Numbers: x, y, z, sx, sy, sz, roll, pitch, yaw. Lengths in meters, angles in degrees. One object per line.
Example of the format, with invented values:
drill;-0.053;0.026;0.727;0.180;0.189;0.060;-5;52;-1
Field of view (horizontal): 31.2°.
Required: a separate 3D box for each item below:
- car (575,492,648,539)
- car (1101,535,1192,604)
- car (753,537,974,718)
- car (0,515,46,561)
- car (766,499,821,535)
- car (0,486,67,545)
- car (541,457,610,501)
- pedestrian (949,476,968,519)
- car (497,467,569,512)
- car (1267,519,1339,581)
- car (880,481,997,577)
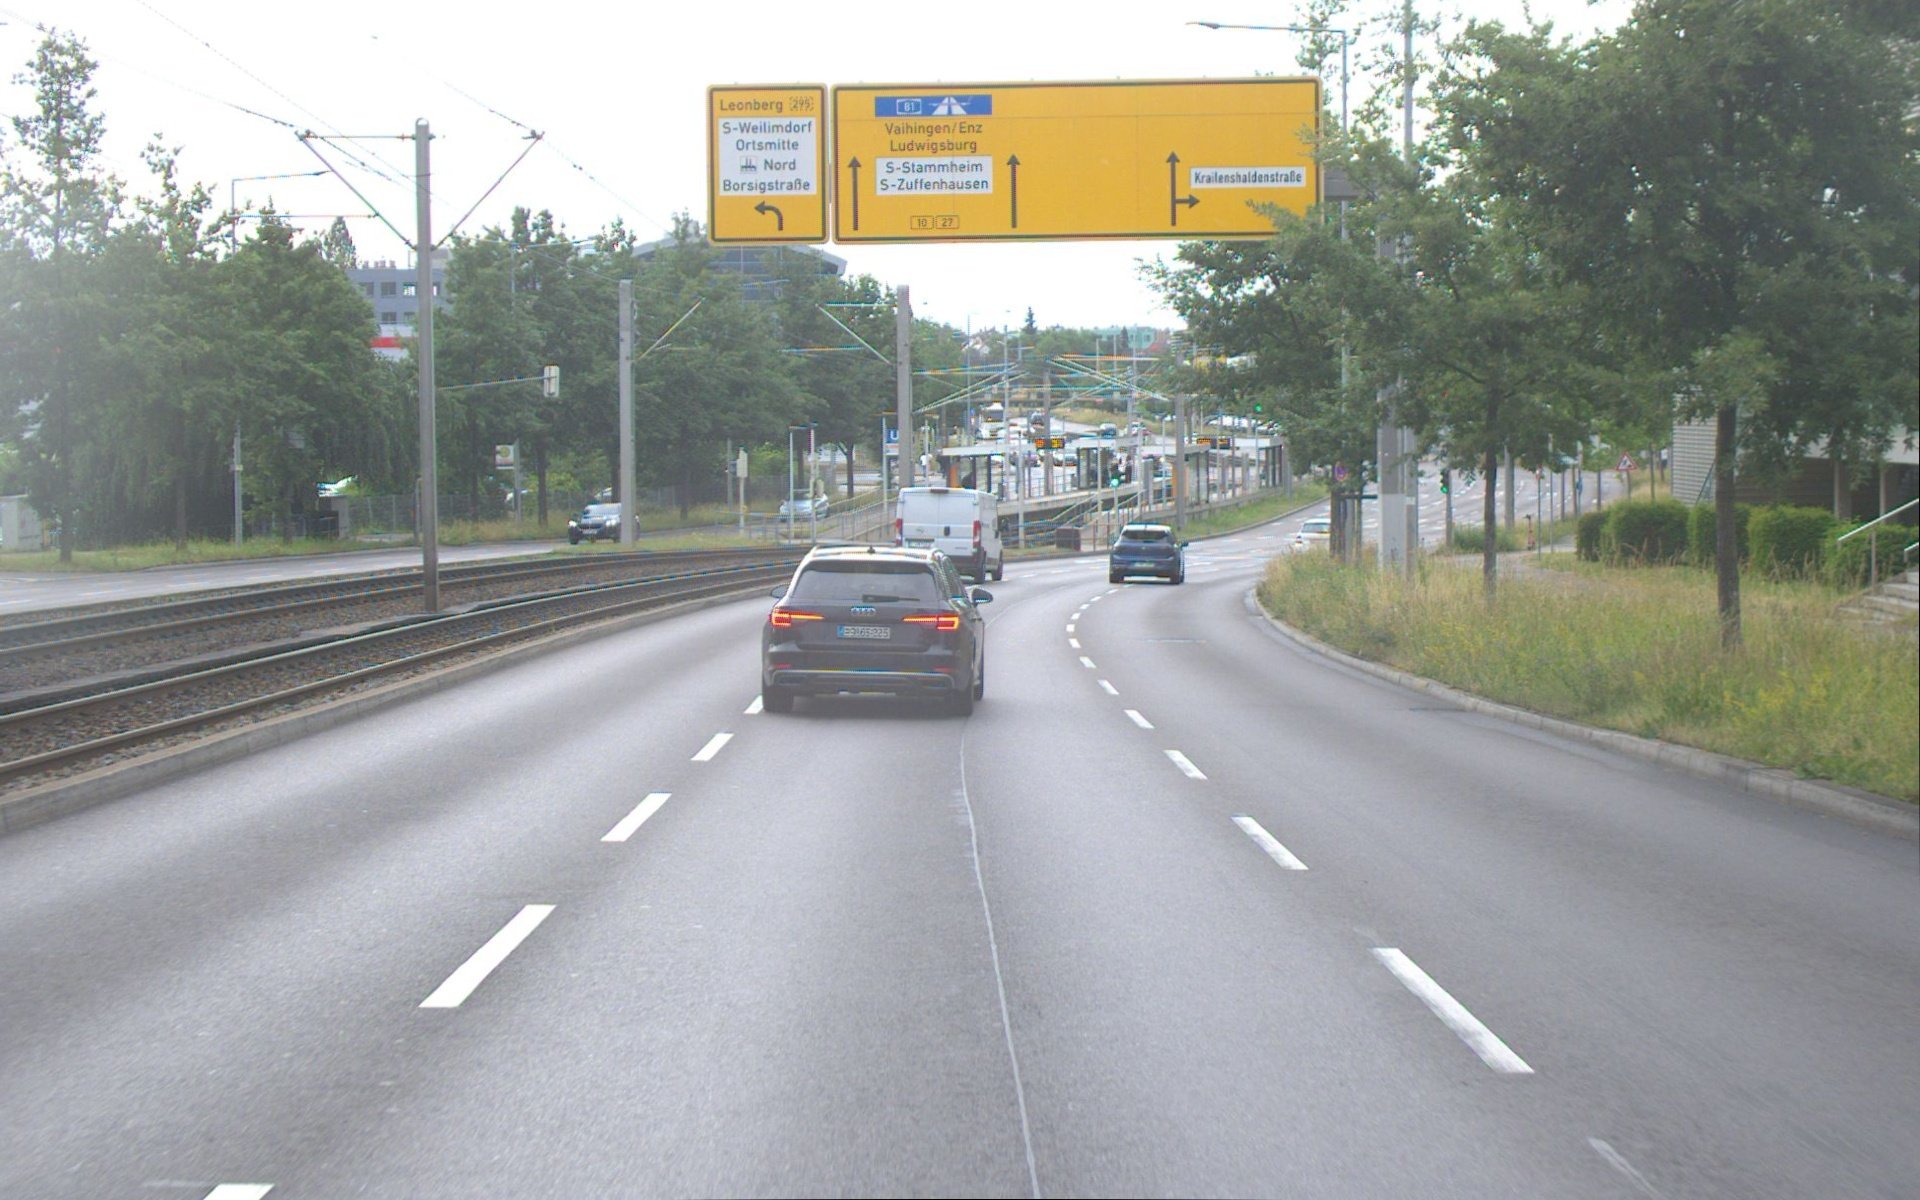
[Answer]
car;-12.219;-2.969;120.675;1.883;1.515;4.403;-3;2;2
car;4.703;-0.755;86.266;2.022;1.617;3.999;2;0;7
car;-0.777;0.182;30.350;1.764;1.458;4.627;1;1;1
car;-32.308;-2.096;116.145;1.993;1.505;4.001;1;0;-26
car;-8.148;-4.069;168.770;1.994;1.674;3.999;2;2;7
car;-27.942;-2.495;101.094;1.994;1.645;3.999;2;0;5
car;-18.654;-5.853;166.891;1.995;2.007;3.997;2;1;15
pedestrian;-0.062;-4.559;152.720;0.637;1.848;0.750;2;0;12
car;-20.087;-5.182;161.774;1.995;2.007;3.997;2;1;15
car;11.139;-1.643;111.419;2.022;1.763;3.999;1;4;9
car;-0.477;-1.671;82.446;2.511;2.169;5.149;2;0;2
